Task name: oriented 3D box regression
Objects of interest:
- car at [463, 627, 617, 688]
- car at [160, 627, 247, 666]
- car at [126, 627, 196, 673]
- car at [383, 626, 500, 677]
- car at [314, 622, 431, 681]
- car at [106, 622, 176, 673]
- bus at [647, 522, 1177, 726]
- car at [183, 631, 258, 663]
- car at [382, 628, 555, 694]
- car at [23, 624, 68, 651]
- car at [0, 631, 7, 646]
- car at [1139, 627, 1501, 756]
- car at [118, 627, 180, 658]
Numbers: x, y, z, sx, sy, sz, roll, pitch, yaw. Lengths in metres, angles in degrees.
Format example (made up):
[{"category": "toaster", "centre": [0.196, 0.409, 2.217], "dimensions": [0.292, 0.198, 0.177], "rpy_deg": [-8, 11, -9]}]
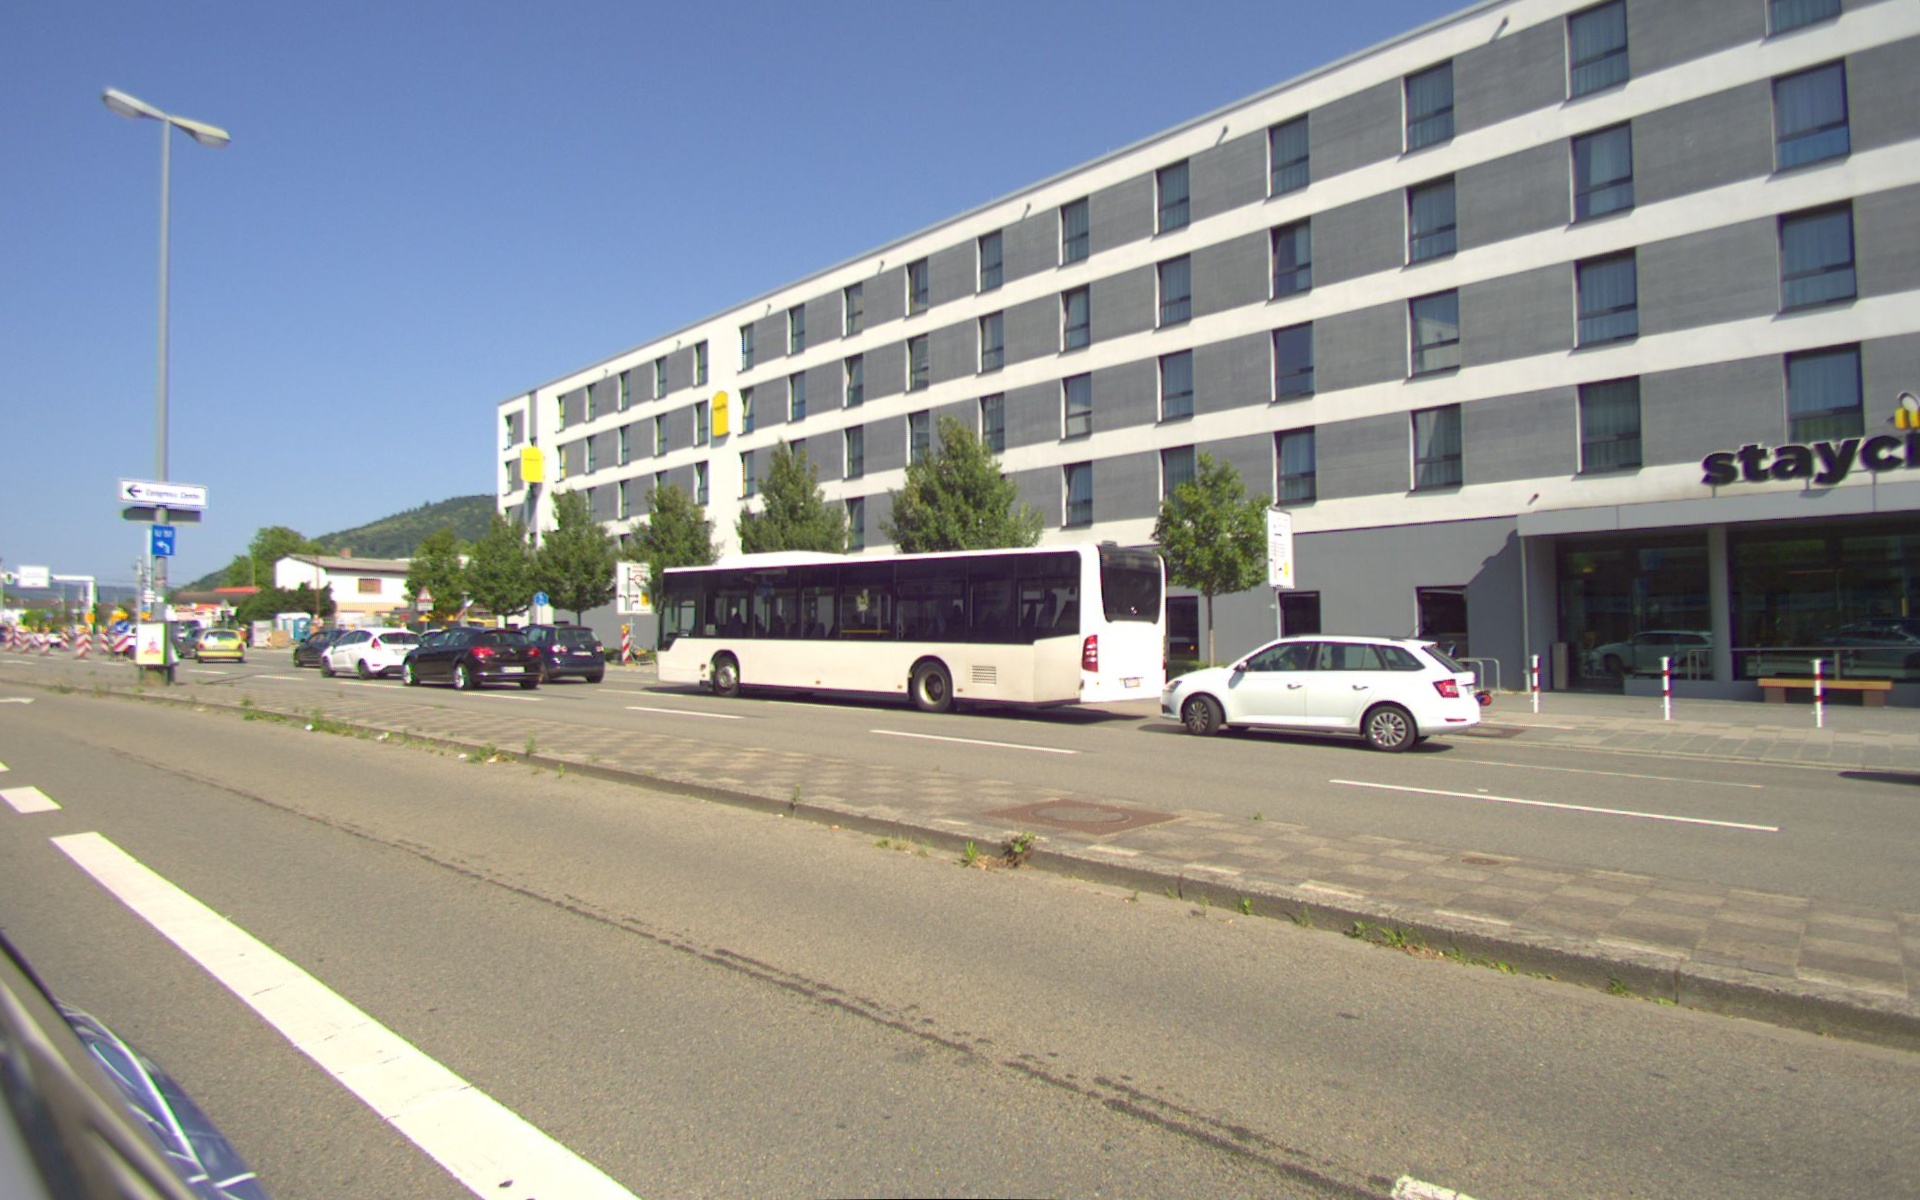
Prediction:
[{"category": "car", "centre": [-11.667, 1.523, 27.941], "dimensions": [4.888, 1.534, 1.973], "rpy_deg": [-1, -2, 41]}, {"category": "car", "centre": [-32.226, 1.933, 43.036], "dimensions": [4.888, 1.534, 1.973], "rpy_deg": [-1, -2, 41]}, {"category": "car", "centre": [-38.688, 2.384, 48.953], "dimensions": [3.998, 2.029, 1.973], "rpy_deg": [-1, 0, 41]}, {"category": "car", "centre": [-16.704, 1.675, 32.543], "dimensions": [3.973, 1.550, 1.835], "rpy_deg": [-3, -5, 38]}, {"category": "car", "centre": [-16.600, 1.394, 28.517], "dimensions": [3.999, 1.462, 1.740], "rpy_deg": [-1, 0, 42]}, {"category": "car", "centre": [-35.392, 2.017, 43.684], "dimensions": [4.162, 2.029, 1.658], "rpy_deg": [-1, 0, 41]}, {"category": "bus", "centre": [-1.686, 0.522, 20.283], "dimensions": [11.966, 3.102, 2.710], "rpy_deg": [-1, -4, 40]}, {"category": "car", "centre": [-36.826, 2.300, 50.374], "dimensions": [4.888, 1.534, 1.973], "rpy_deg": [-1, -2, 41]}, {"category": "car", "centre": [-11.908, 1.391, 24.384], "dimensions": [4.887, 1.443, 1.973], "rpy_deg": [-1, -2, 40]}, {"category": "car", "centre": [-70.040, 2.861, 77.461], "dimensions": [3.996, 2.029, 1.973], "rpy_deg": [-2, -3, 40]}, {"category": "car", "centre": [-83.773, 3.321, 87.192], "dimensions": [3.932, 1.346, 1.794], "rpy_deg": [-1, -2, 37]}, {"category": "car", "centre": [4.948, 1.178, 14.129], "dimensions": [4.403, 1.497, 1.976], "rpy_deg": [-1, -4, 36]}, {"category": "car", "centre": [-47.226, 2.466, 58.894], "dimensions": [4.888, 1.725, 1.973], "rpy_deg": [-1, -2, 41]}]
